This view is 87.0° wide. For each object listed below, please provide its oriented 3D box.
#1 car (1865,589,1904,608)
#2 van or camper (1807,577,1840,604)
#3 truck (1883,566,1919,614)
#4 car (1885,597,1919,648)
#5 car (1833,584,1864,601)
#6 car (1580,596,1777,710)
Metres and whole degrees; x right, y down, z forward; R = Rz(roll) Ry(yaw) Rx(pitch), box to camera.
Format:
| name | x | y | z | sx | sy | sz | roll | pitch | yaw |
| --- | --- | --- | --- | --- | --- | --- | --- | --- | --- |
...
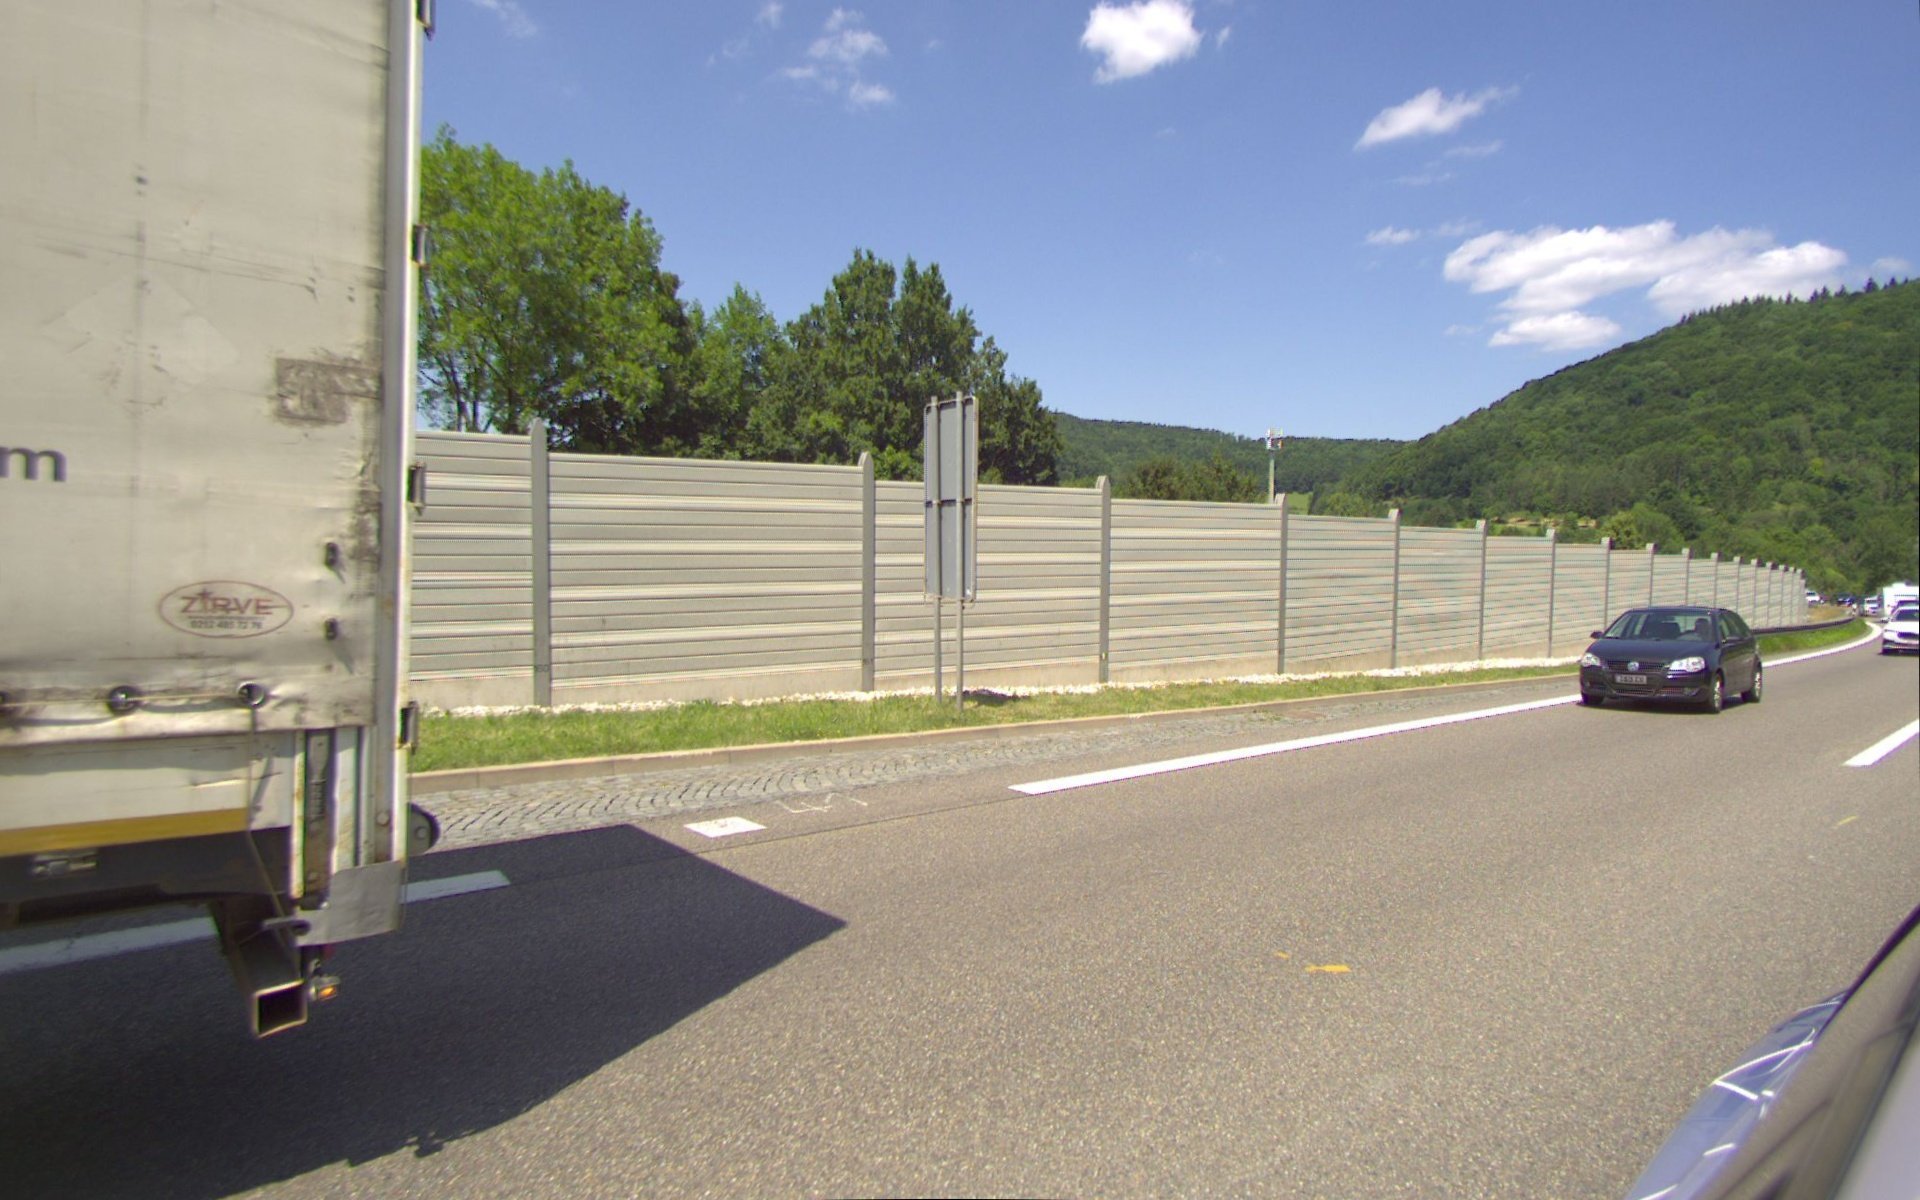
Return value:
| name | x | y | z | sx | sy | sz | roll | pitch | yaw |
| --- | --- | --- | --- | --- | --- | --- | --- | --- | --- |
| car | 80.060 | -0.138 | 87.661 | 1.685 | 1.552 | 3.641 | -3 | -2 | 30 |
| van or camper | 103.237 | -1.137 | 121.095 | 1.892 | 3.066 | 4.828 | 0 | 0 | 27 |
| truck | 66.783 | -0.732 | 70.911 | 2.591 | 3.147 | 6.760 | -4 | -2 | 40 |
| car | 28.721 | 0.637 | 29.778 | 3.659 | 1.449 | 1.904 | 0 | -1 | -43 |
| car | 106.855 | -0.916 | 121.724 | 1.982 | 2.039 | 3.960 | 0 | 0 | 29 |
| car | 10.686 | 0.677 | 14.960 | 3.774 | 1.440 | 1.693 | 0 | 1 | -44 |
